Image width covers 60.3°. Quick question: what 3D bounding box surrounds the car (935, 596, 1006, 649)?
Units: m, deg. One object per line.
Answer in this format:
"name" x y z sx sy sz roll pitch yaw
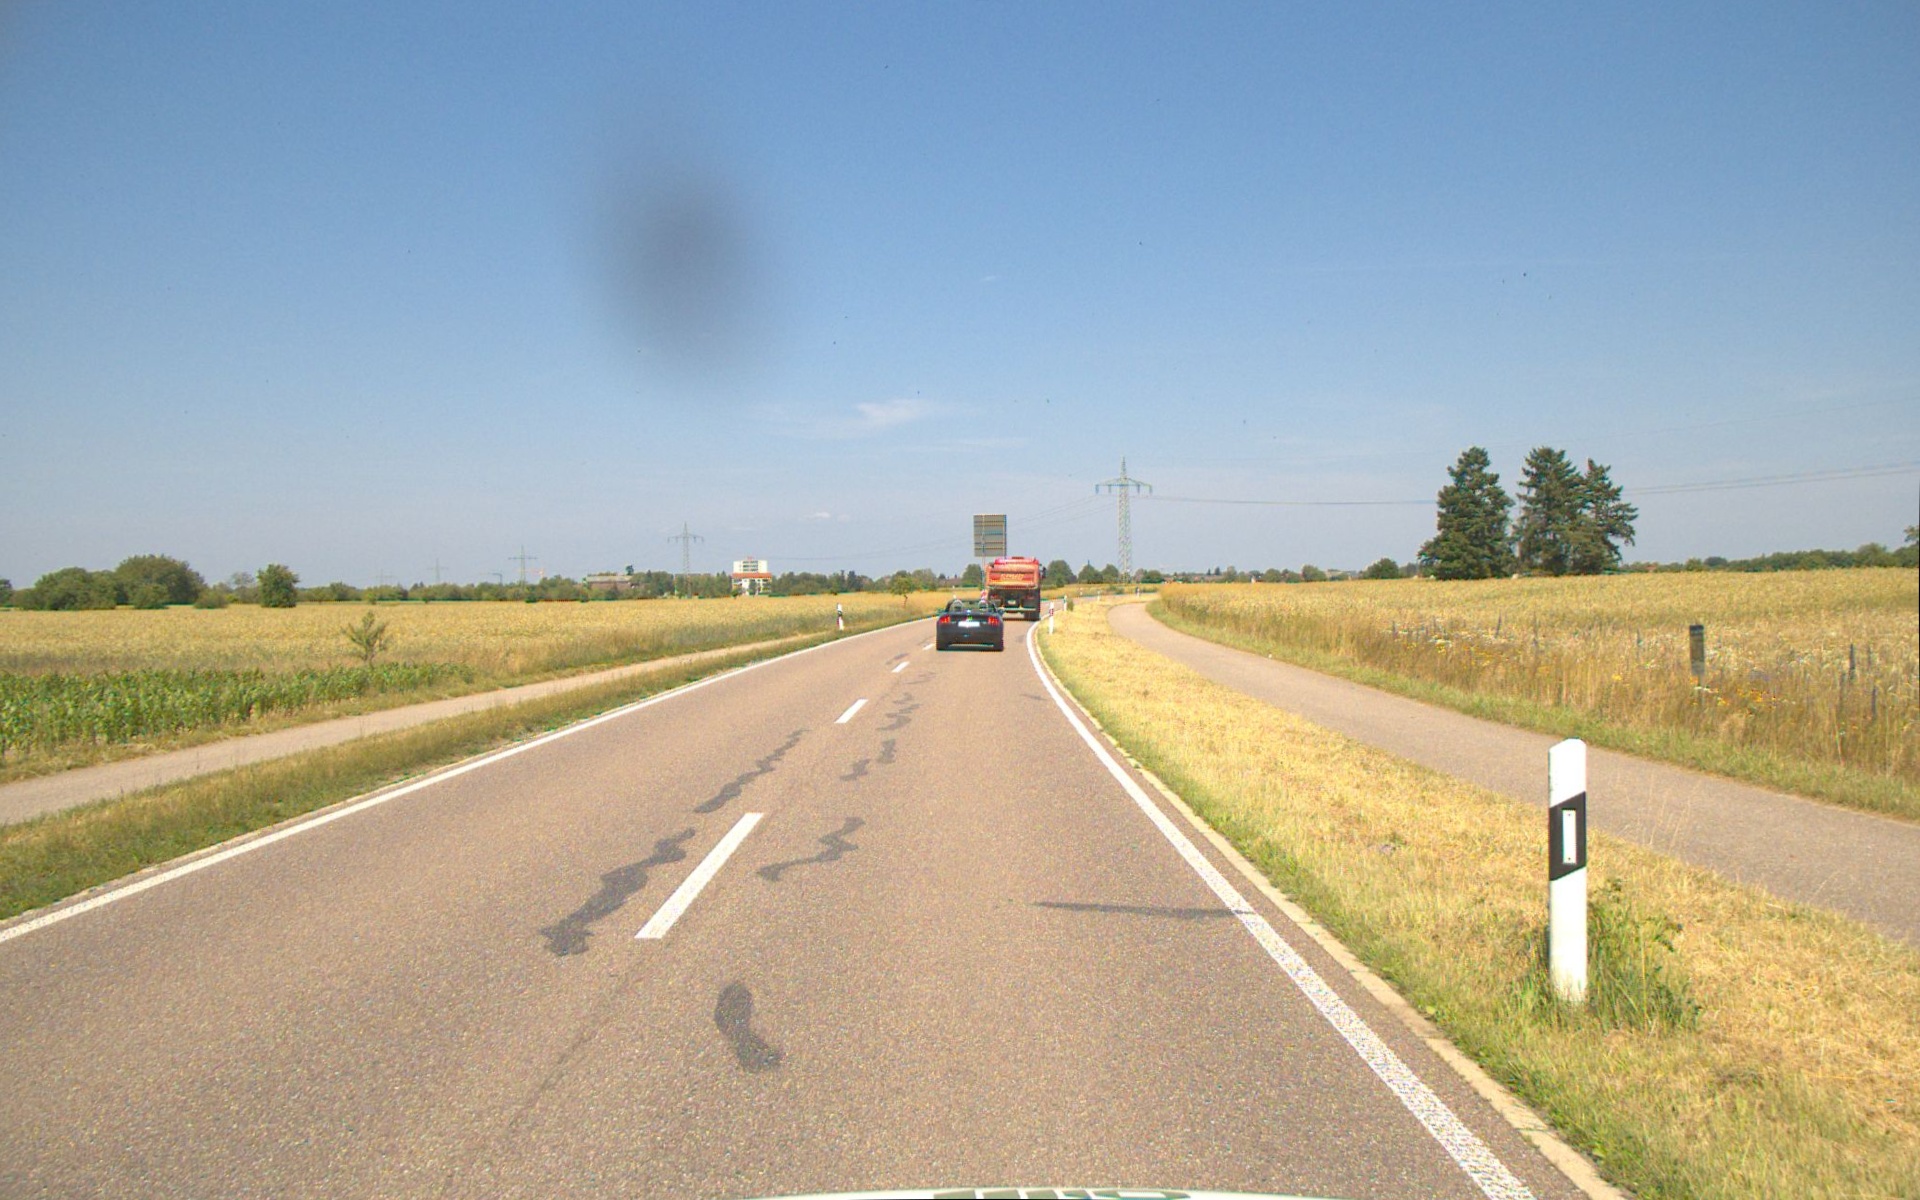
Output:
"car" 0.327 0.567 43.422 1.707 1.302 4.001 0 0 2

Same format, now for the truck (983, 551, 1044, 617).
"truck" 2.719 -0.750 82.427 2.876 3.143 7.199 0 0 3
